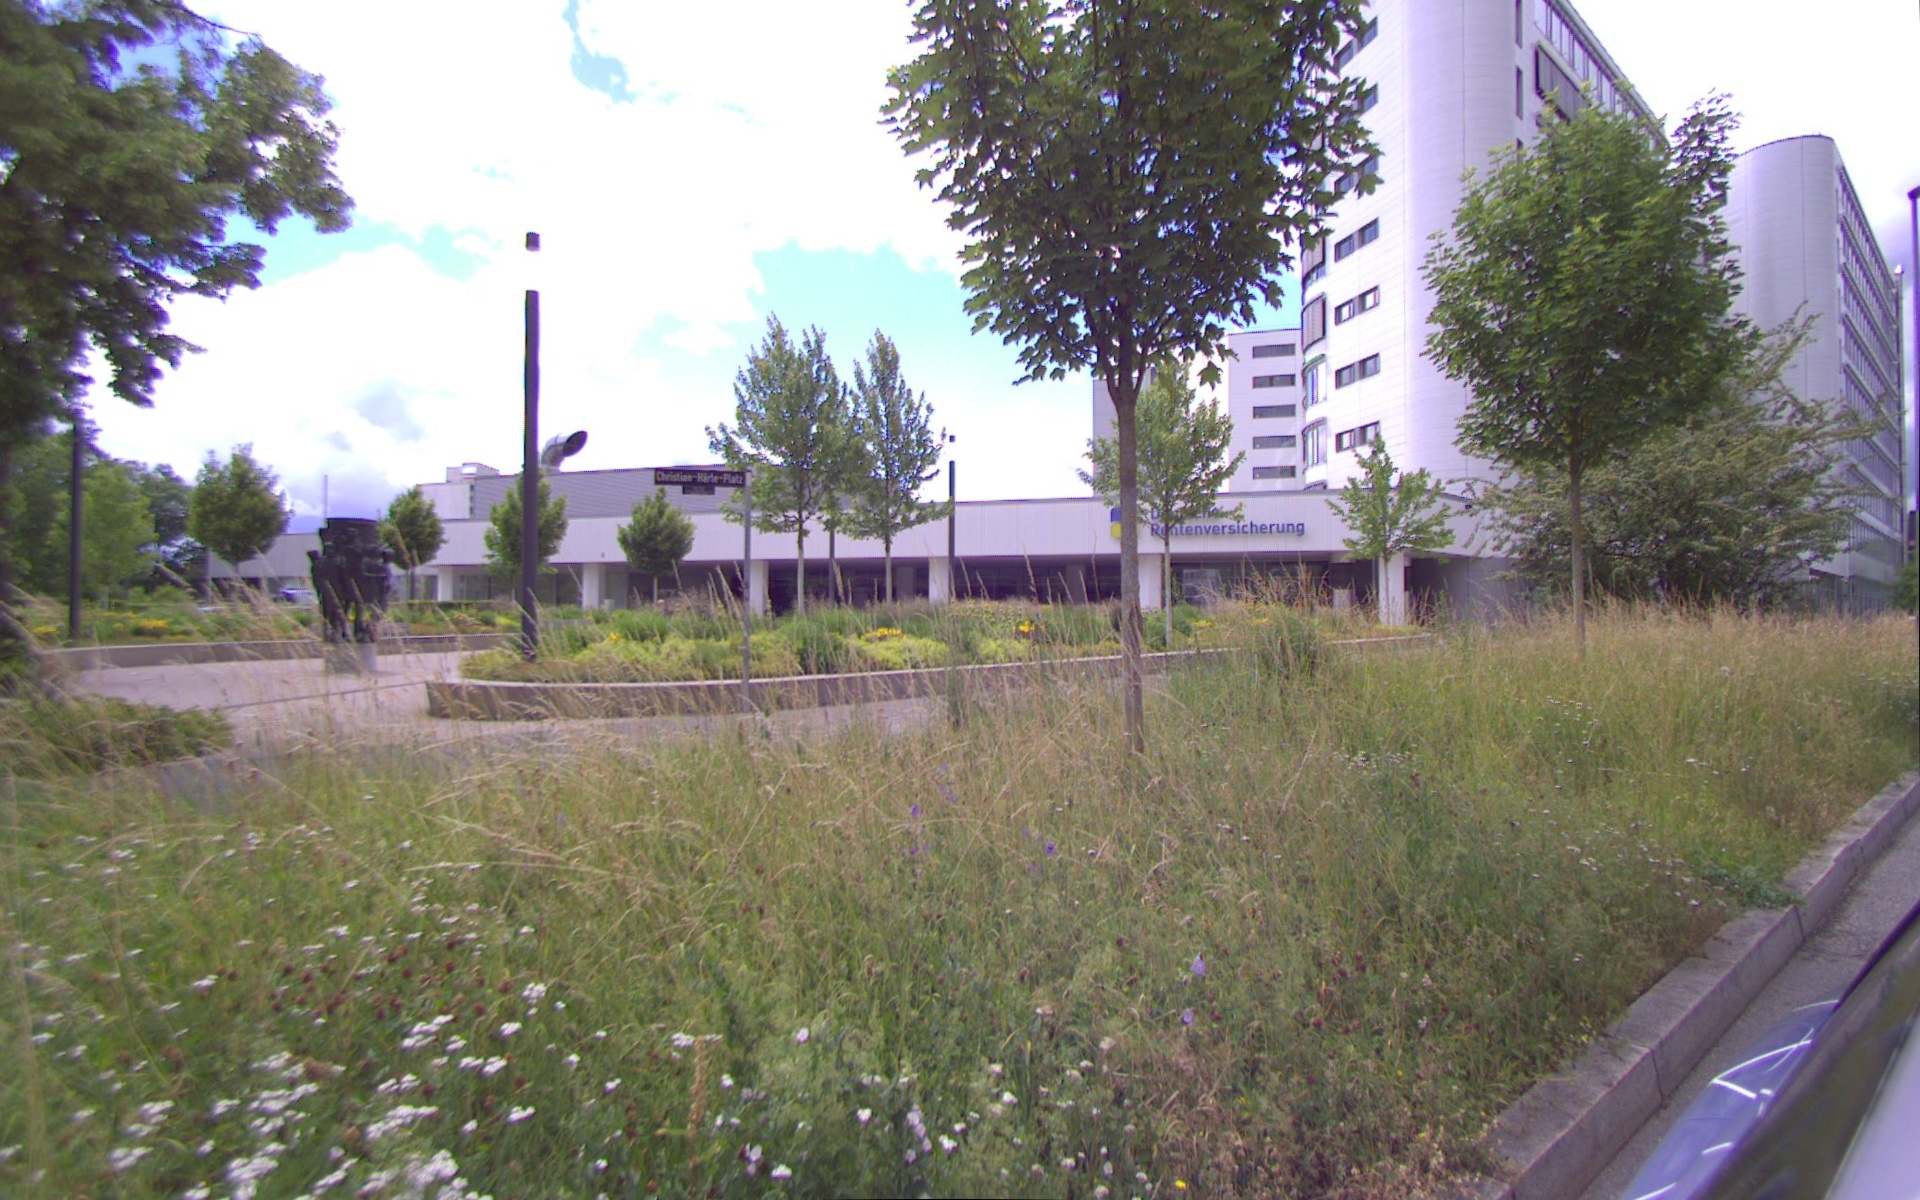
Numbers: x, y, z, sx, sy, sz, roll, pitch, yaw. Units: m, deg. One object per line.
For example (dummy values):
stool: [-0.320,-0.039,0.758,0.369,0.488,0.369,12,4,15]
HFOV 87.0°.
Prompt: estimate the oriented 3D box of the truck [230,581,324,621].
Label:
truck: [-36.144,0.029,53.587,3.941,2.039,1.991,1,0,14]

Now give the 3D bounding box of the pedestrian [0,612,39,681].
pedestrian: [-17.457,0.842,18.665,0.621,1.238,0.620,1,0,-36]

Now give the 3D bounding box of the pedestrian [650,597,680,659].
pedestrian: [-7.990,0.758,27.426,0.756,1.646,0.766,1,0,-16]
